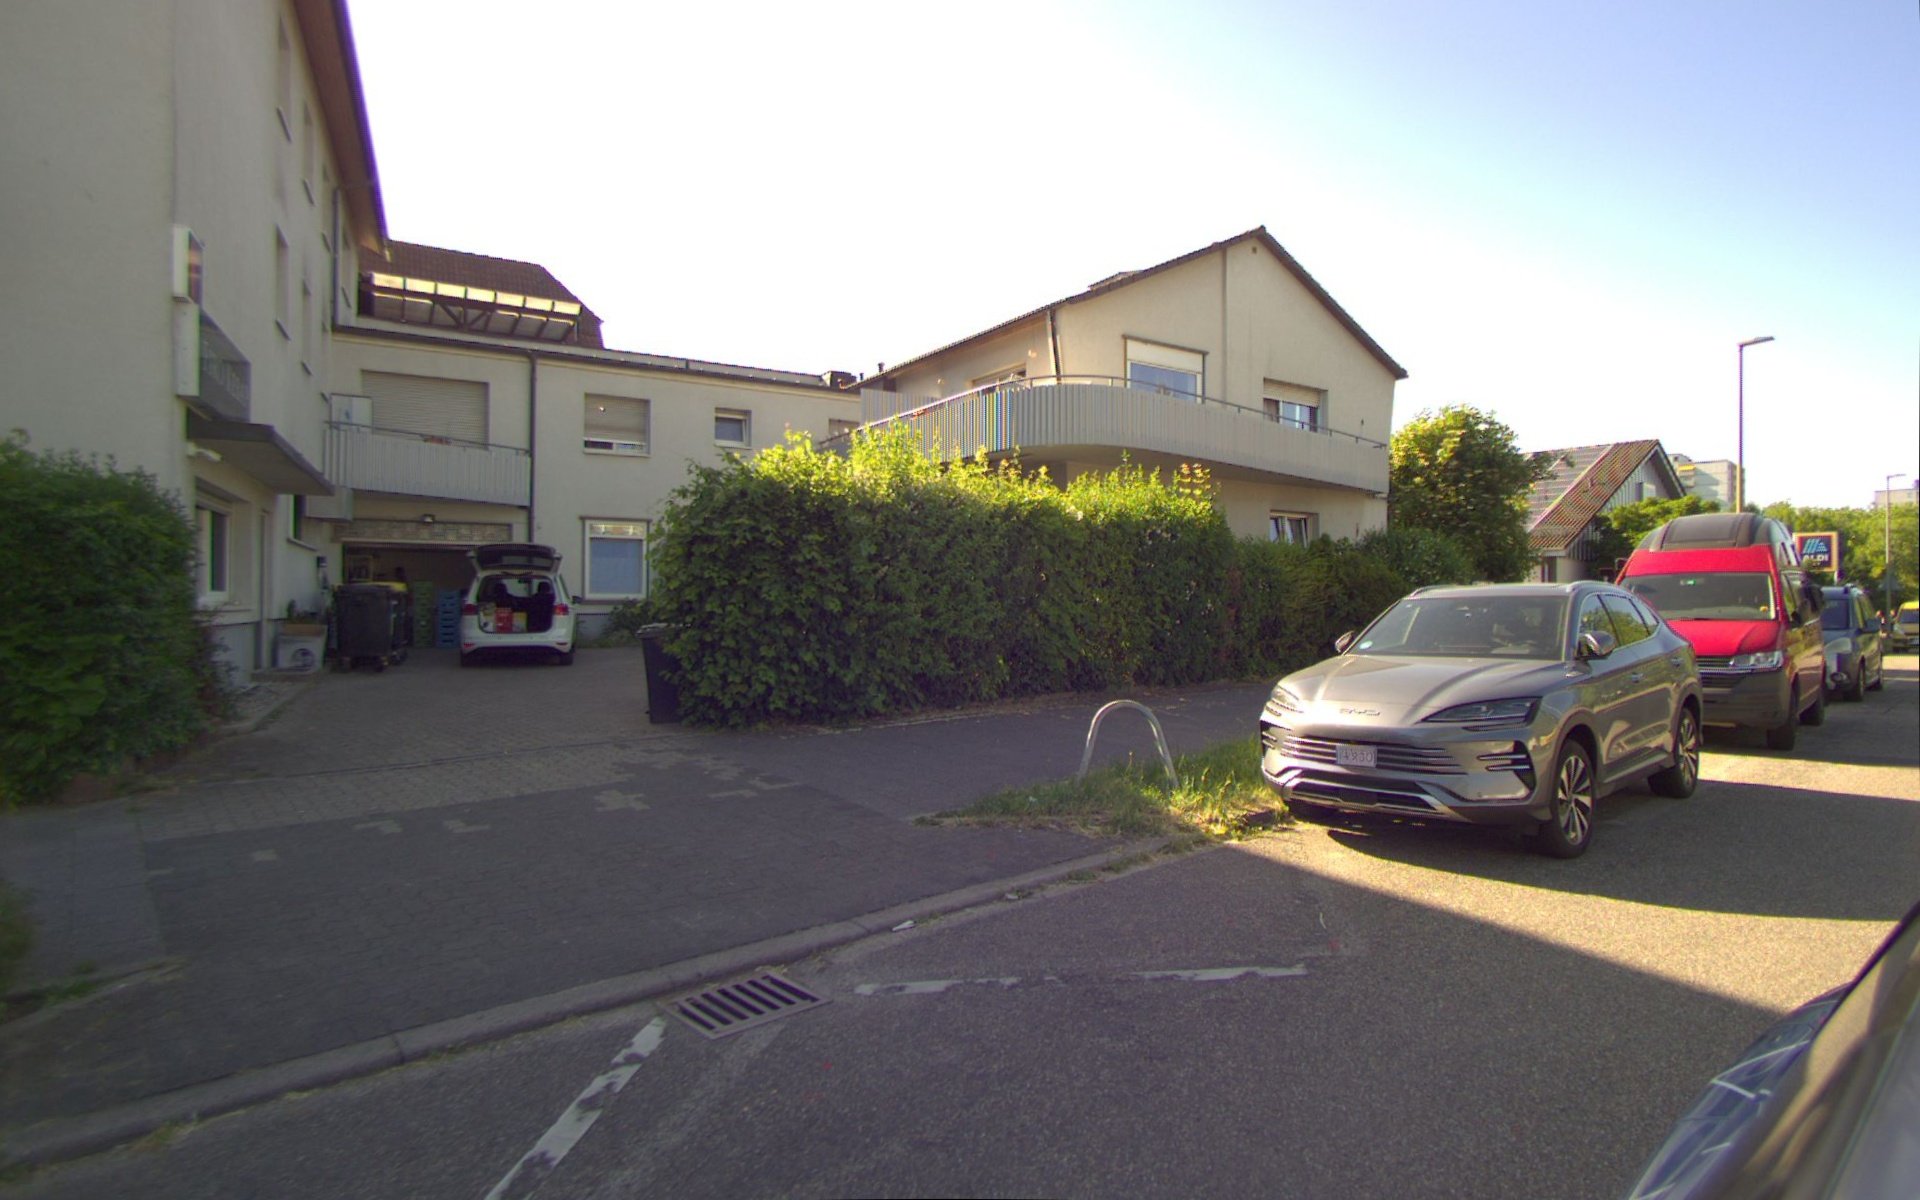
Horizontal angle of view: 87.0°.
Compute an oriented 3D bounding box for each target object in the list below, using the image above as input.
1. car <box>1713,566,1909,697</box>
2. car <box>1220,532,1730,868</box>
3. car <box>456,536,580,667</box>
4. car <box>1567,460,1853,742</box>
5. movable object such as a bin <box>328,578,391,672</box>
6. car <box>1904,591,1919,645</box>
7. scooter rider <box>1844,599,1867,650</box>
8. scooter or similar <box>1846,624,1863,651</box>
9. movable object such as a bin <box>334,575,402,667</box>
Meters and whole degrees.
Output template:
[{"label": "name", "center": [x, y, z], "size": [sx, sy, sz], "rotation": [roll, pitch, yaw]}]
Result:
[{"label": "car", "center": [14.146, 0.486, 16.736], "size": [4.482, 1.872, 1.858], "rotation": [0, -3, -43]}, {"label": "car", "center": [4.057, 0.530, 7.579], "size": [4.499, 1.760, 1.959], "rotation": [0, -1, -43]}, {"label": "car", "center": [-7.551, -0.024, 17.484], "size": [1.730, 1.984, 4.009], "rotation": [1, 1, -22]}, {"label": "car", "center": [9.154, 0.015, 12.139], "size": [5.138, 2.678, 1.958], "rotation": [0, -1, -45]}, {"label": "movable object such as a bin", "center": [-9.017, 0.364, 15.229], "size": [0.767, 1.359, 0.803], "rotation": [0, -1, -28]}, {"label": "car", "center": [33.540, 0.584, 34.533], "size": [3.913, 1.799, 1.619], "rotation": [0, -1, -42]}, {"label": "scooter rider", "center": [36.800, 0.993, 41.601], "size": [0.597, 2.038, 0.479], "rotation": [4, 2, 43]}, {"label": "scooter or similar", "center": [36.795, 1.544, 41.615], "size": [0.456, 1.043, 1.033], "rotation": [4, 3, 42]}, {"label": "movable object such as a bin", "center": [-9.364, 0.321, 16.035], "size": [0.862, 1.396, 0.837], "rotation": [0, -1, -26]}]
